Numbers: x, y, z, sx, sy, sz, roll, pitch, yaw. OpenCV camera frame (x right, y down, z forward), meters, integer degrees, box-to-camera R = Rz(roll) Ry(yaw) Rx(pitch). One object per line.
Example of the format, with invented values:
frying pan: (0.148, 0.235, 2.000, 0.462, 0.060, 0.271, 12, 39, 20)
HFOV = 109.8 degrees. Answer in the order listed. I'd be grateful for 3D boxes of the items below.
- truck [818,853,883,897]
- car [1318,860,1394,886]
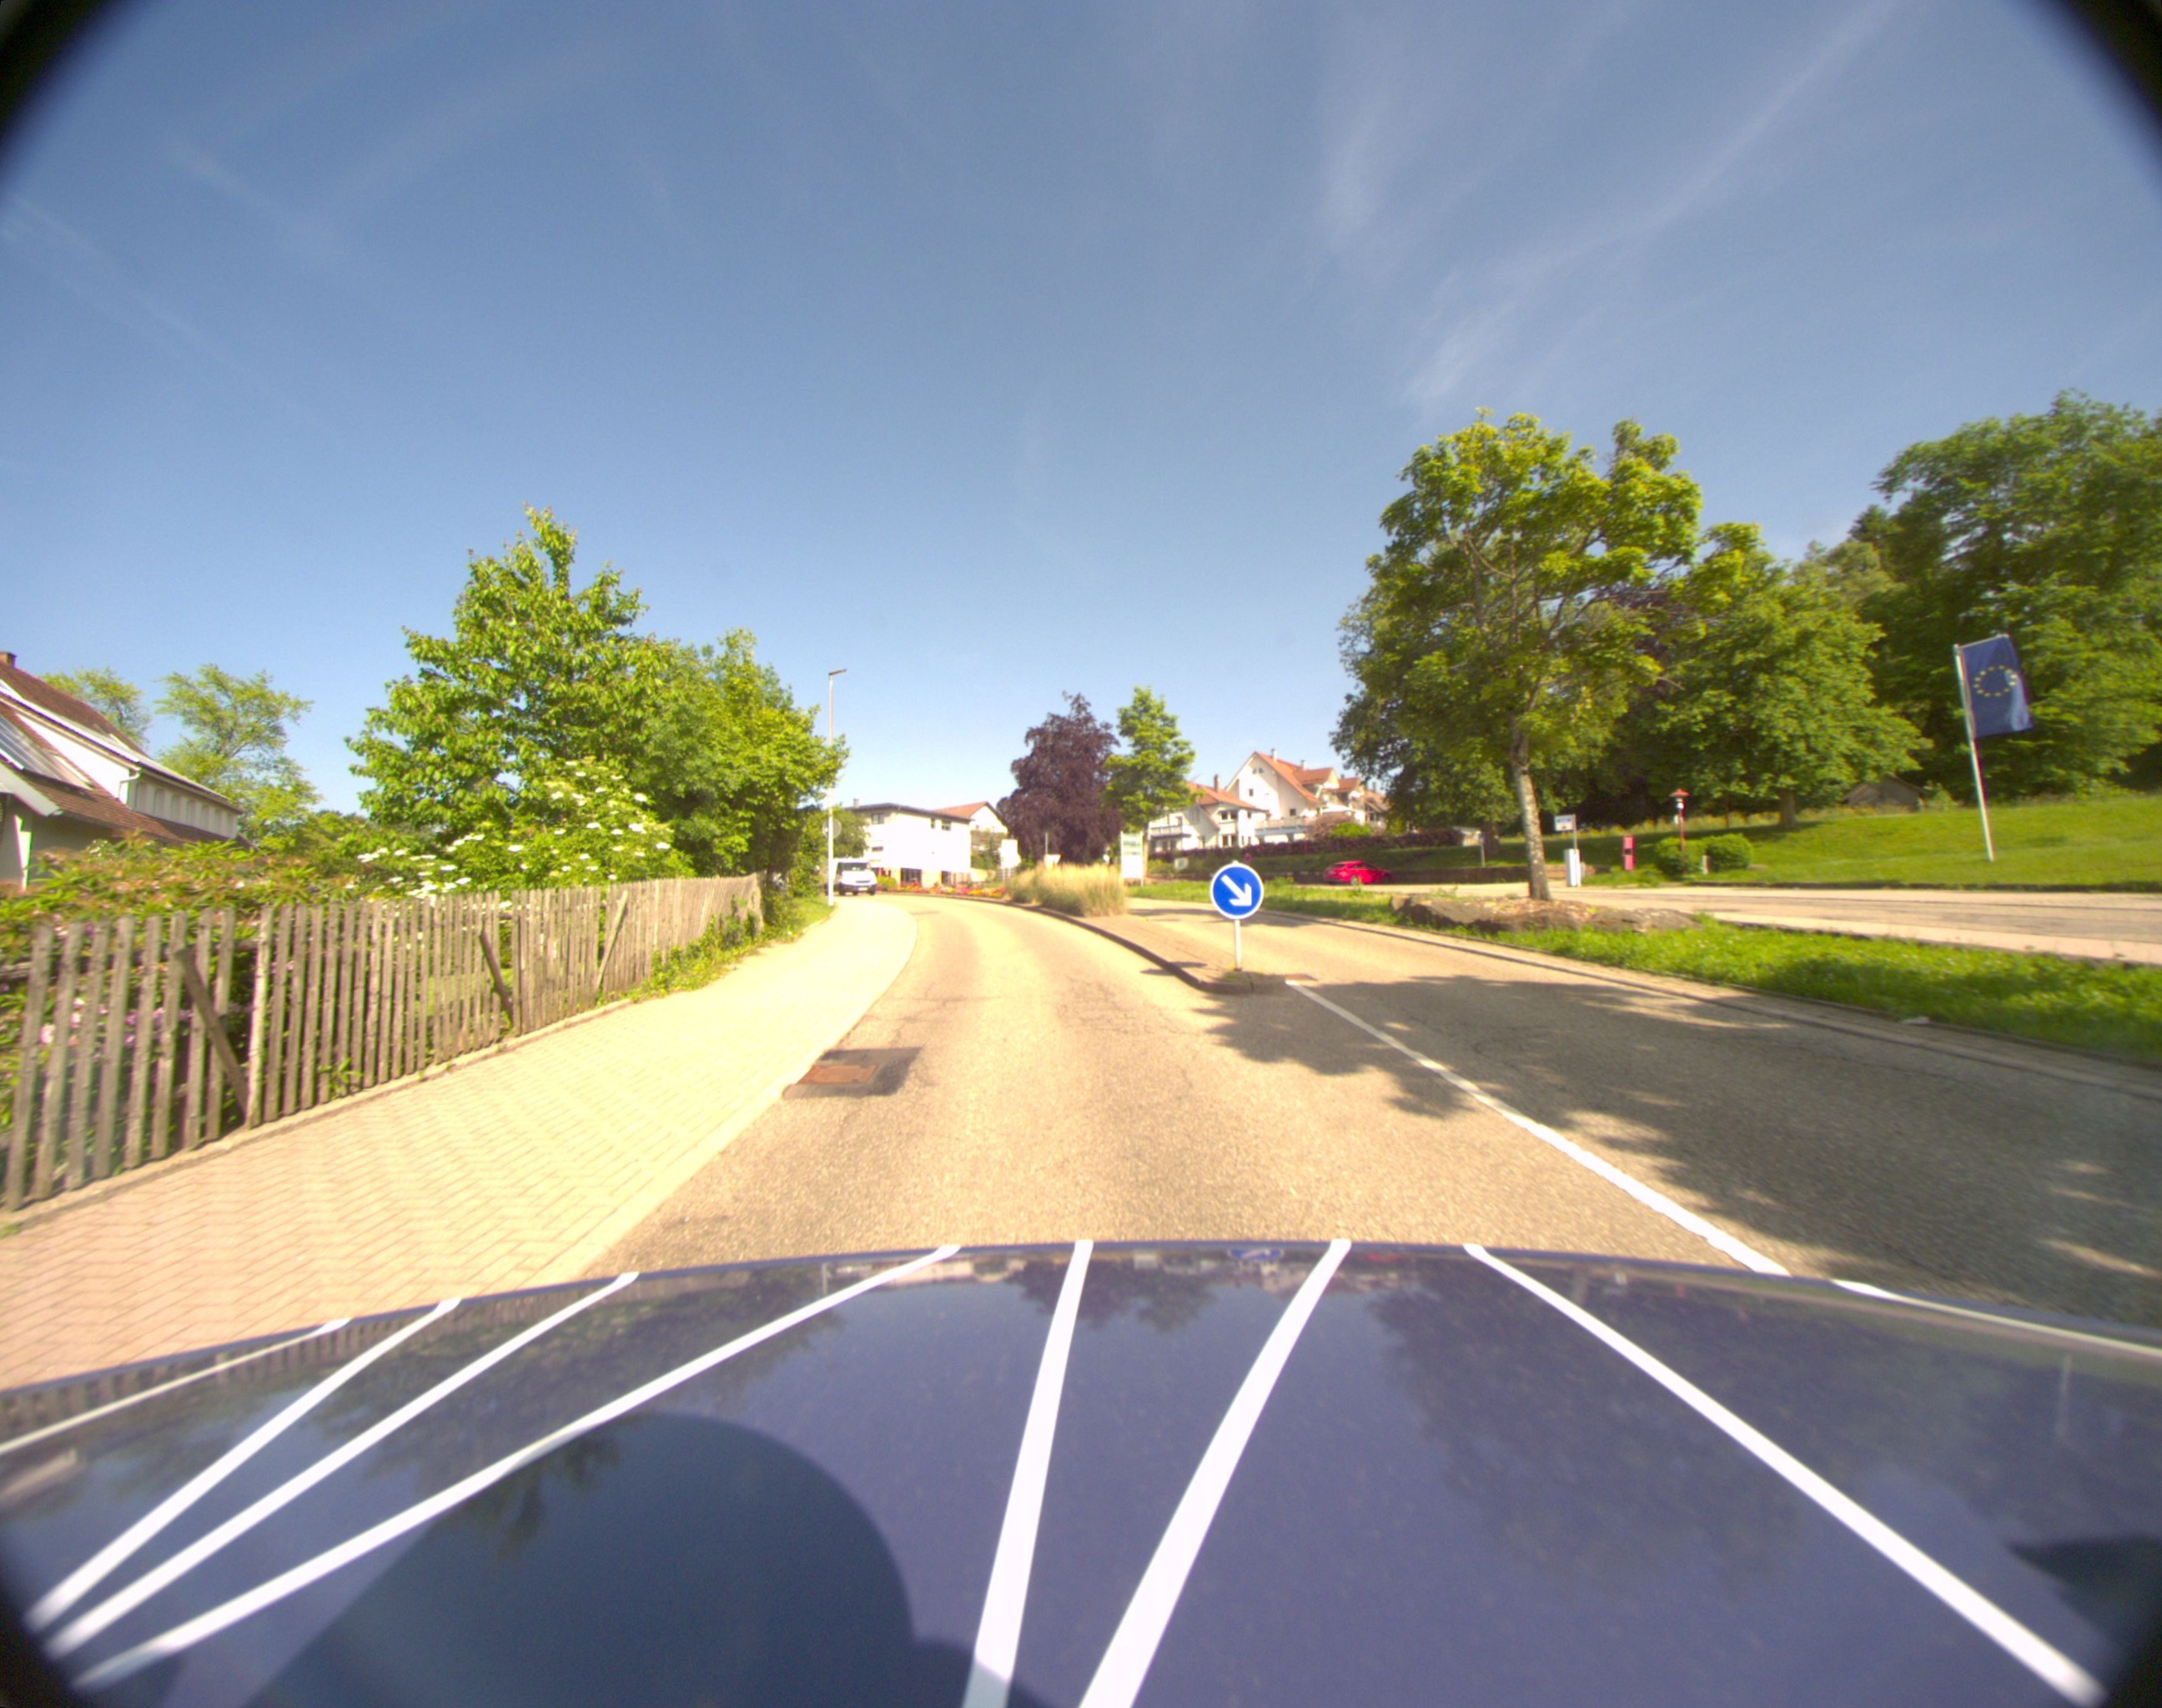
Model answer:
truck: (-14.357, 1.380, 46.980, 2.003, 2.327, 6.481, -4, -1, -33)
car: (16.509, 1.143, 45.574, 4.244, 1.390, 1.820, -1, -1, -27)
